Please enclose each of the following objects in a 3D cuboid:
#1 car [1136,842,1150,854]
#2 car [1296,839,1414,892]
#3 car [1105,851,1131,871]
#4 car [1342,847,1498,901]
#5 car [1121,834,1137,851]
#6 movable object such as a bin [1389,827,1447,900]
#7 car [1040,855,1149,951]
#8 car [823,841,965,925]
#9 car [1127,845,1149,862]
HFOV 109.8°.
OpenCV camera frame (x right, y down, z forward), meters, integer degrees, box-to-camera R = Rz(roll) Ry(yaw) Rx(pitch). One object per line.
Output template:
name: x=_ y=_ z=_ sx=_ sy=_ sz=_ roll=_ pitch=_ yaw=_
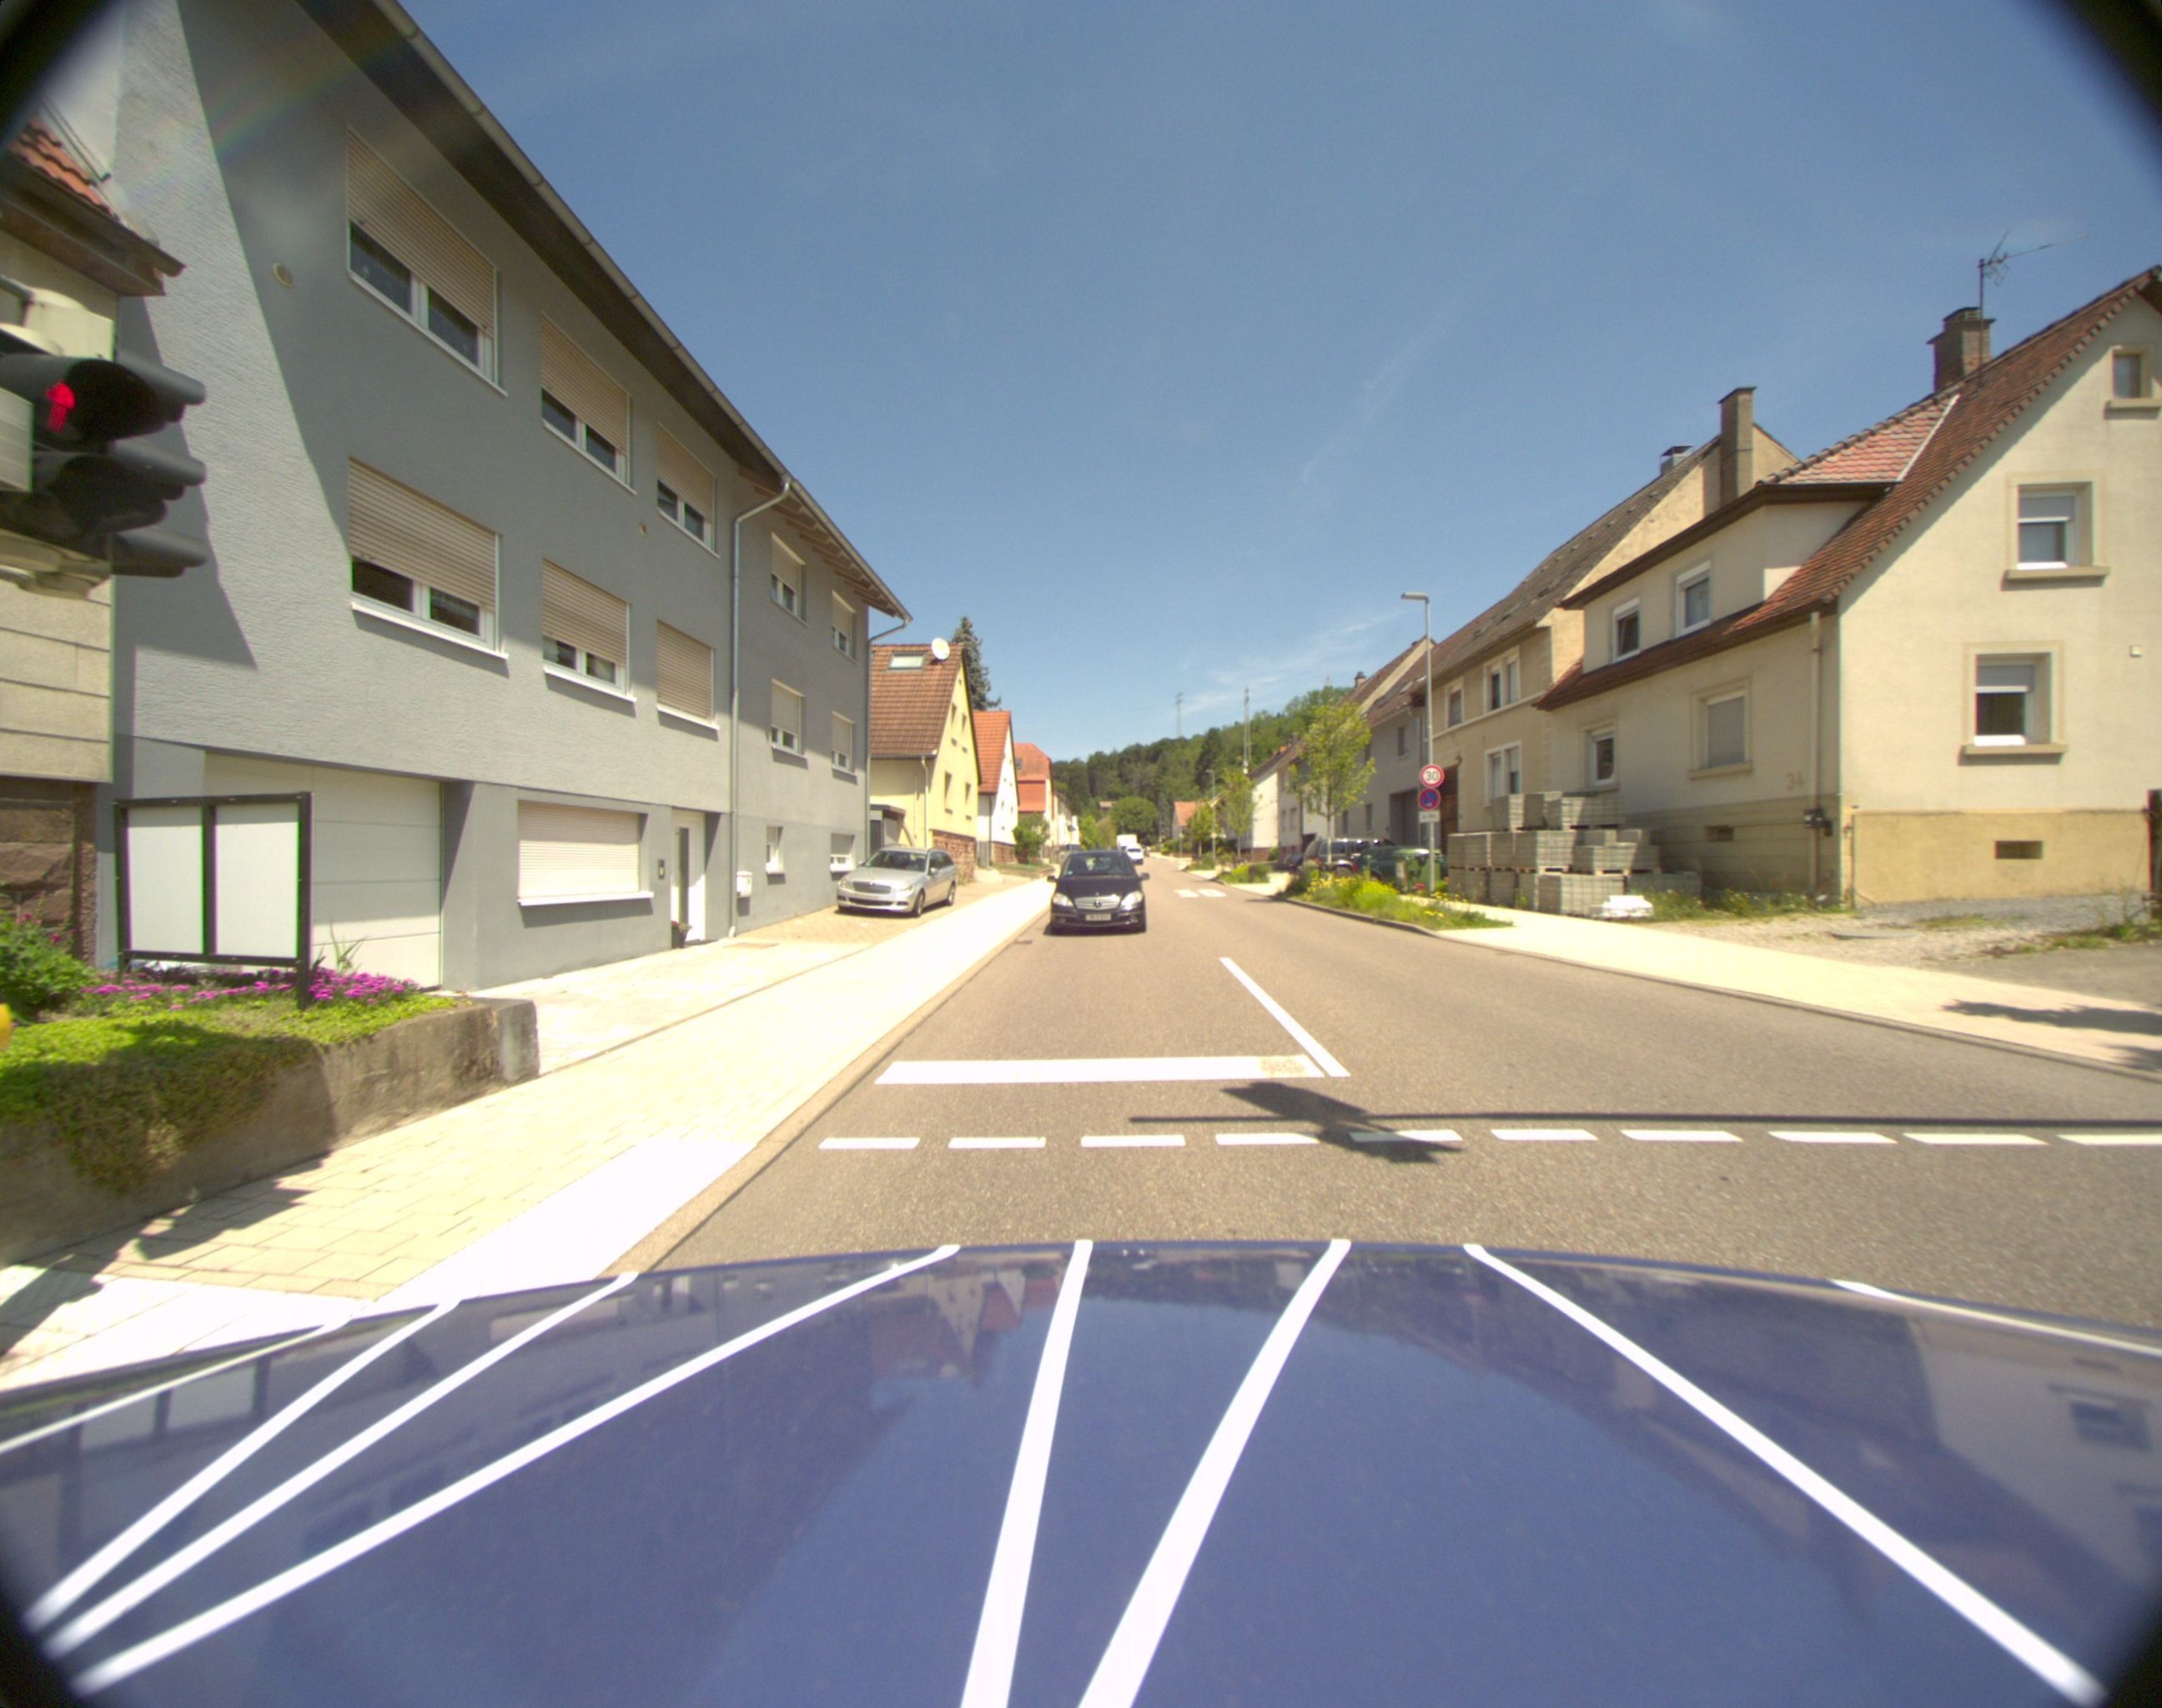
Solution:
car: x=11.258 y=-1.159 z=137.547 sx=2.370 sy=1.990 sz=5.173 roll=-2 pitch=1 yaw=6
car: x=9.908 y=0.395 z=27.658 sx=3.605 sy=1.780 sz=1.848 roll=-2 pitch=1 yaw=1
car: x=2.995 y=0.550 z=62.356 sx=1.998 sy=1.477 sz=4.222 roll=-2 pitch=0 yaw=1
car: x=10.395 y=0.591 z=23.424 sx=4.040 sy=1.491 sz=1.707 roll=-1 pitch=1 yaw=41
car: x=6.547 y=-1.532 z=103.390 sx=1.986 sy=2.170 sz=4.000 roll=-2 pitch=1 yaw=2
movable object such as a bin: x=9.626 y=0.254 z=21.764 sx=1.061 sy=2.002 sz=1.323 roll=-2 pitch=1 yaw=3
car: x=0.386 y=0.830 z=15.164 sx=1.766 sy=1.572 sz=4.932 roll=-2 pitch=0 yaw=4
car: x=-4.170 y=0.557 z=17.749 sx=1.867 sy=1.612 sz=4.508 roll=3 pitch=1 yaw=4
car: x=5.907 y=-0.088 z=79.491 sx=1.998 sy=1.716 sz=4.000 roll=-2 pitch=0 yaw=1
